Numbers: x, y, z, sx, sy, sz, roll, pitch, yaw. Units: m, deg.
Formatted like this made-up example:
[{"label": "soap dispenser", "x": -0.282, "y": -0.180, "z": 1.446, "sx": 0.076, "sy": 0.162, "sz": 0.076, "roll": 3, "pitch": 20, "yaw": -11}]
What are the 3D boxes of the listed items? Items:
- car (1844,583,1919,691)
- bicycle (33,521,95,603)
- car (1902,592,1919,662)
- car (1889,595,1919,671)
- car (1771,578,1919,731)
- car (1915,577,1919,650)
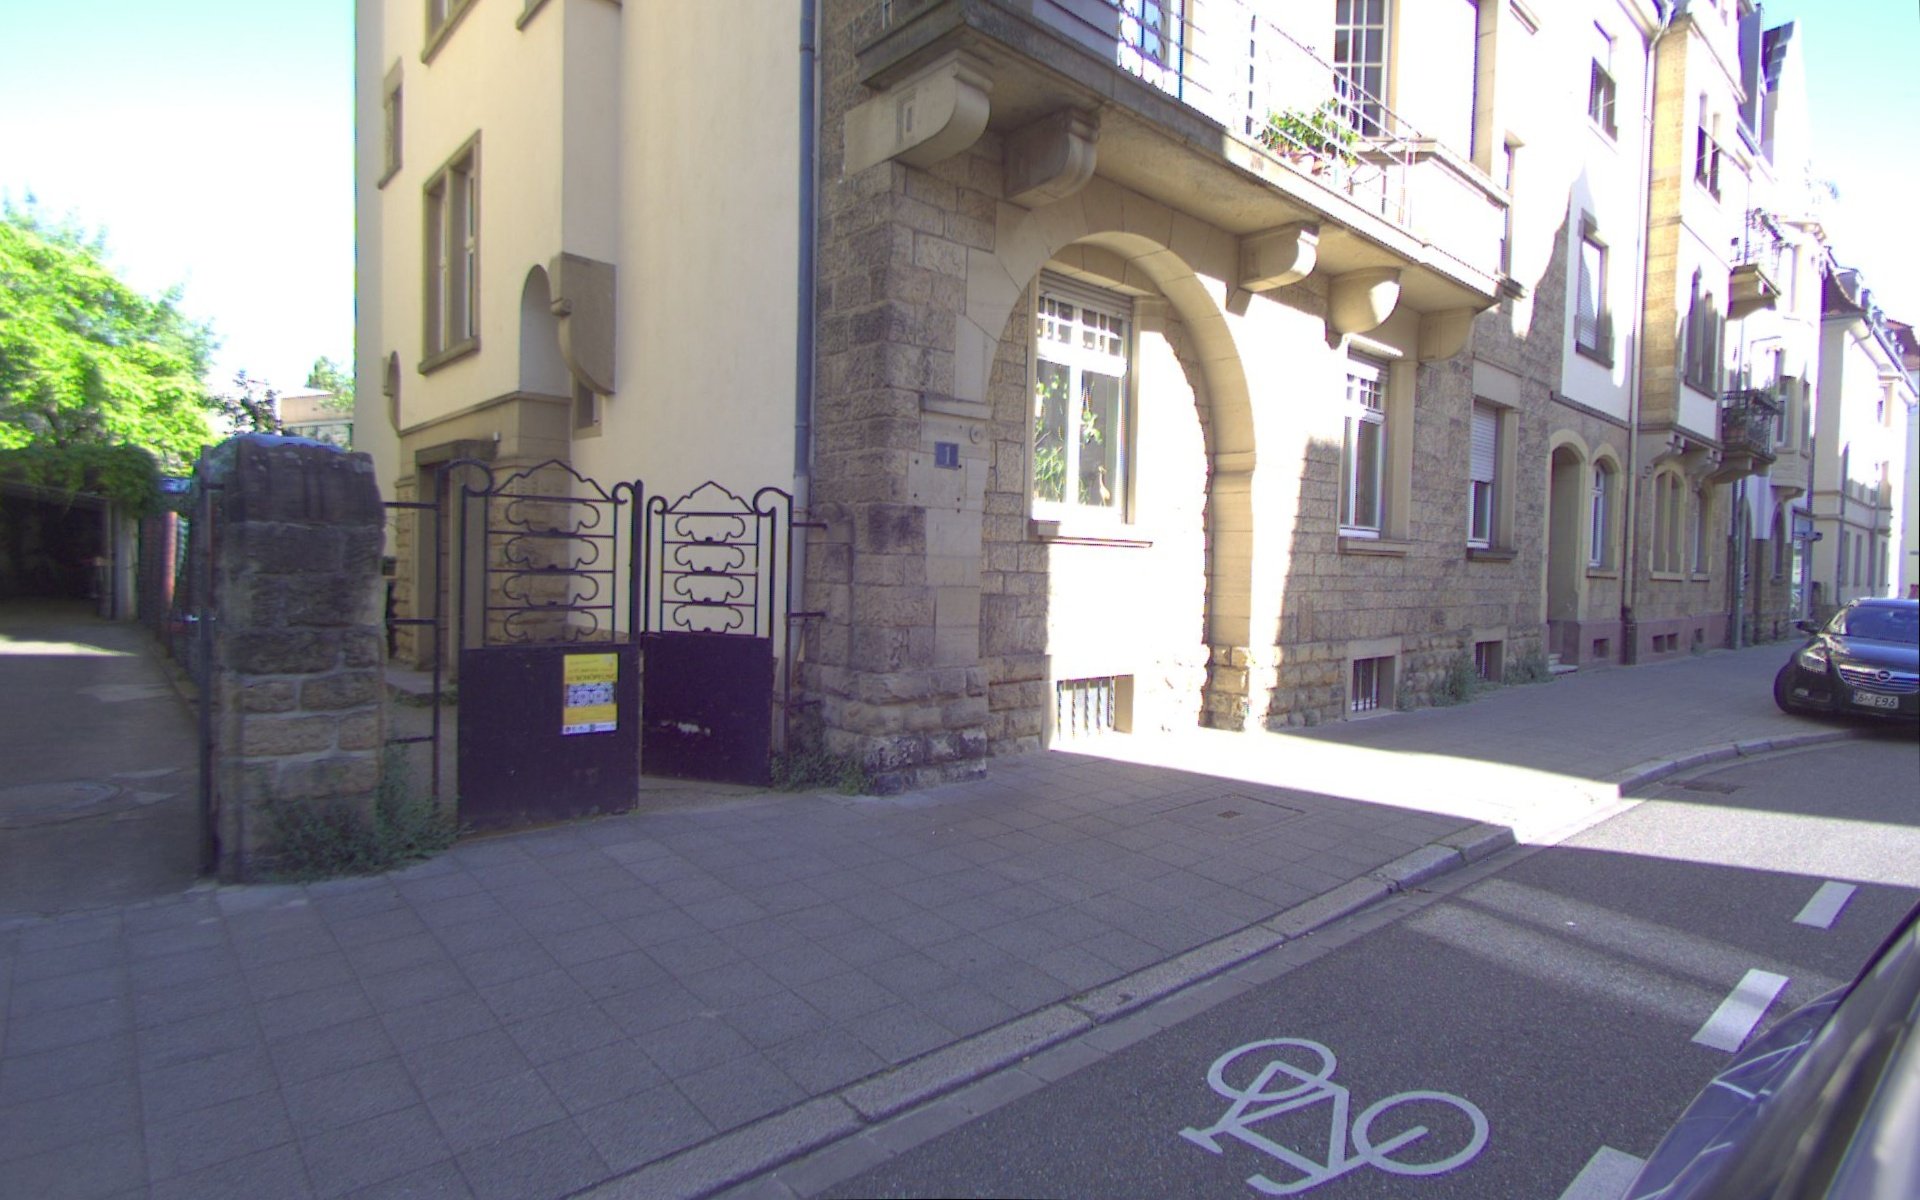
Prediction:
[{"label": "car", "x": 15.522, "y": 0.570, "z": 15.858, "sx": 4.247, "sy": 1.527, "sz": 2.004, "roll": 0, "pitch": 3, "yaw": -42}, {"label": "bicycle", "x": -18.310, "y": -0.812, "z": 20.717, "sx": 0.903, "sy": 1.530, "sz": 2.672, "roll": 0, "pitch": 4, "yaw": -41}, {"label": "car", "x": 22.162, "y": 0.587, "z": 22.183, "sx": 4.247, "sy": 1.440, "sz": 1.823, "roll": -1, "pitch": 4, "yaw": -42}, {"label": "car", "x": 18.785, "y": 0.624, "z": 18.962, "sx": 3.667, "sy": 1.295, "sz": 1.659, "roll": -1, "pitch": 4, "yaw": -42}, {"label": "car", "x": 11.492, "y": 0.573, "z": 12.173, "sx": 4.043, "sy": 1.526, "sz": 2.023, "roll": -1, "pitch": 5, "yaw": -42}, {"label": "car", "x": 26.225, "y": 0.341, "z": 26.040, "sx": 4.247, "sy": 1.860, "sz": 2.004, "roll": -1, "pitch": 4, "yaw": -42}]
